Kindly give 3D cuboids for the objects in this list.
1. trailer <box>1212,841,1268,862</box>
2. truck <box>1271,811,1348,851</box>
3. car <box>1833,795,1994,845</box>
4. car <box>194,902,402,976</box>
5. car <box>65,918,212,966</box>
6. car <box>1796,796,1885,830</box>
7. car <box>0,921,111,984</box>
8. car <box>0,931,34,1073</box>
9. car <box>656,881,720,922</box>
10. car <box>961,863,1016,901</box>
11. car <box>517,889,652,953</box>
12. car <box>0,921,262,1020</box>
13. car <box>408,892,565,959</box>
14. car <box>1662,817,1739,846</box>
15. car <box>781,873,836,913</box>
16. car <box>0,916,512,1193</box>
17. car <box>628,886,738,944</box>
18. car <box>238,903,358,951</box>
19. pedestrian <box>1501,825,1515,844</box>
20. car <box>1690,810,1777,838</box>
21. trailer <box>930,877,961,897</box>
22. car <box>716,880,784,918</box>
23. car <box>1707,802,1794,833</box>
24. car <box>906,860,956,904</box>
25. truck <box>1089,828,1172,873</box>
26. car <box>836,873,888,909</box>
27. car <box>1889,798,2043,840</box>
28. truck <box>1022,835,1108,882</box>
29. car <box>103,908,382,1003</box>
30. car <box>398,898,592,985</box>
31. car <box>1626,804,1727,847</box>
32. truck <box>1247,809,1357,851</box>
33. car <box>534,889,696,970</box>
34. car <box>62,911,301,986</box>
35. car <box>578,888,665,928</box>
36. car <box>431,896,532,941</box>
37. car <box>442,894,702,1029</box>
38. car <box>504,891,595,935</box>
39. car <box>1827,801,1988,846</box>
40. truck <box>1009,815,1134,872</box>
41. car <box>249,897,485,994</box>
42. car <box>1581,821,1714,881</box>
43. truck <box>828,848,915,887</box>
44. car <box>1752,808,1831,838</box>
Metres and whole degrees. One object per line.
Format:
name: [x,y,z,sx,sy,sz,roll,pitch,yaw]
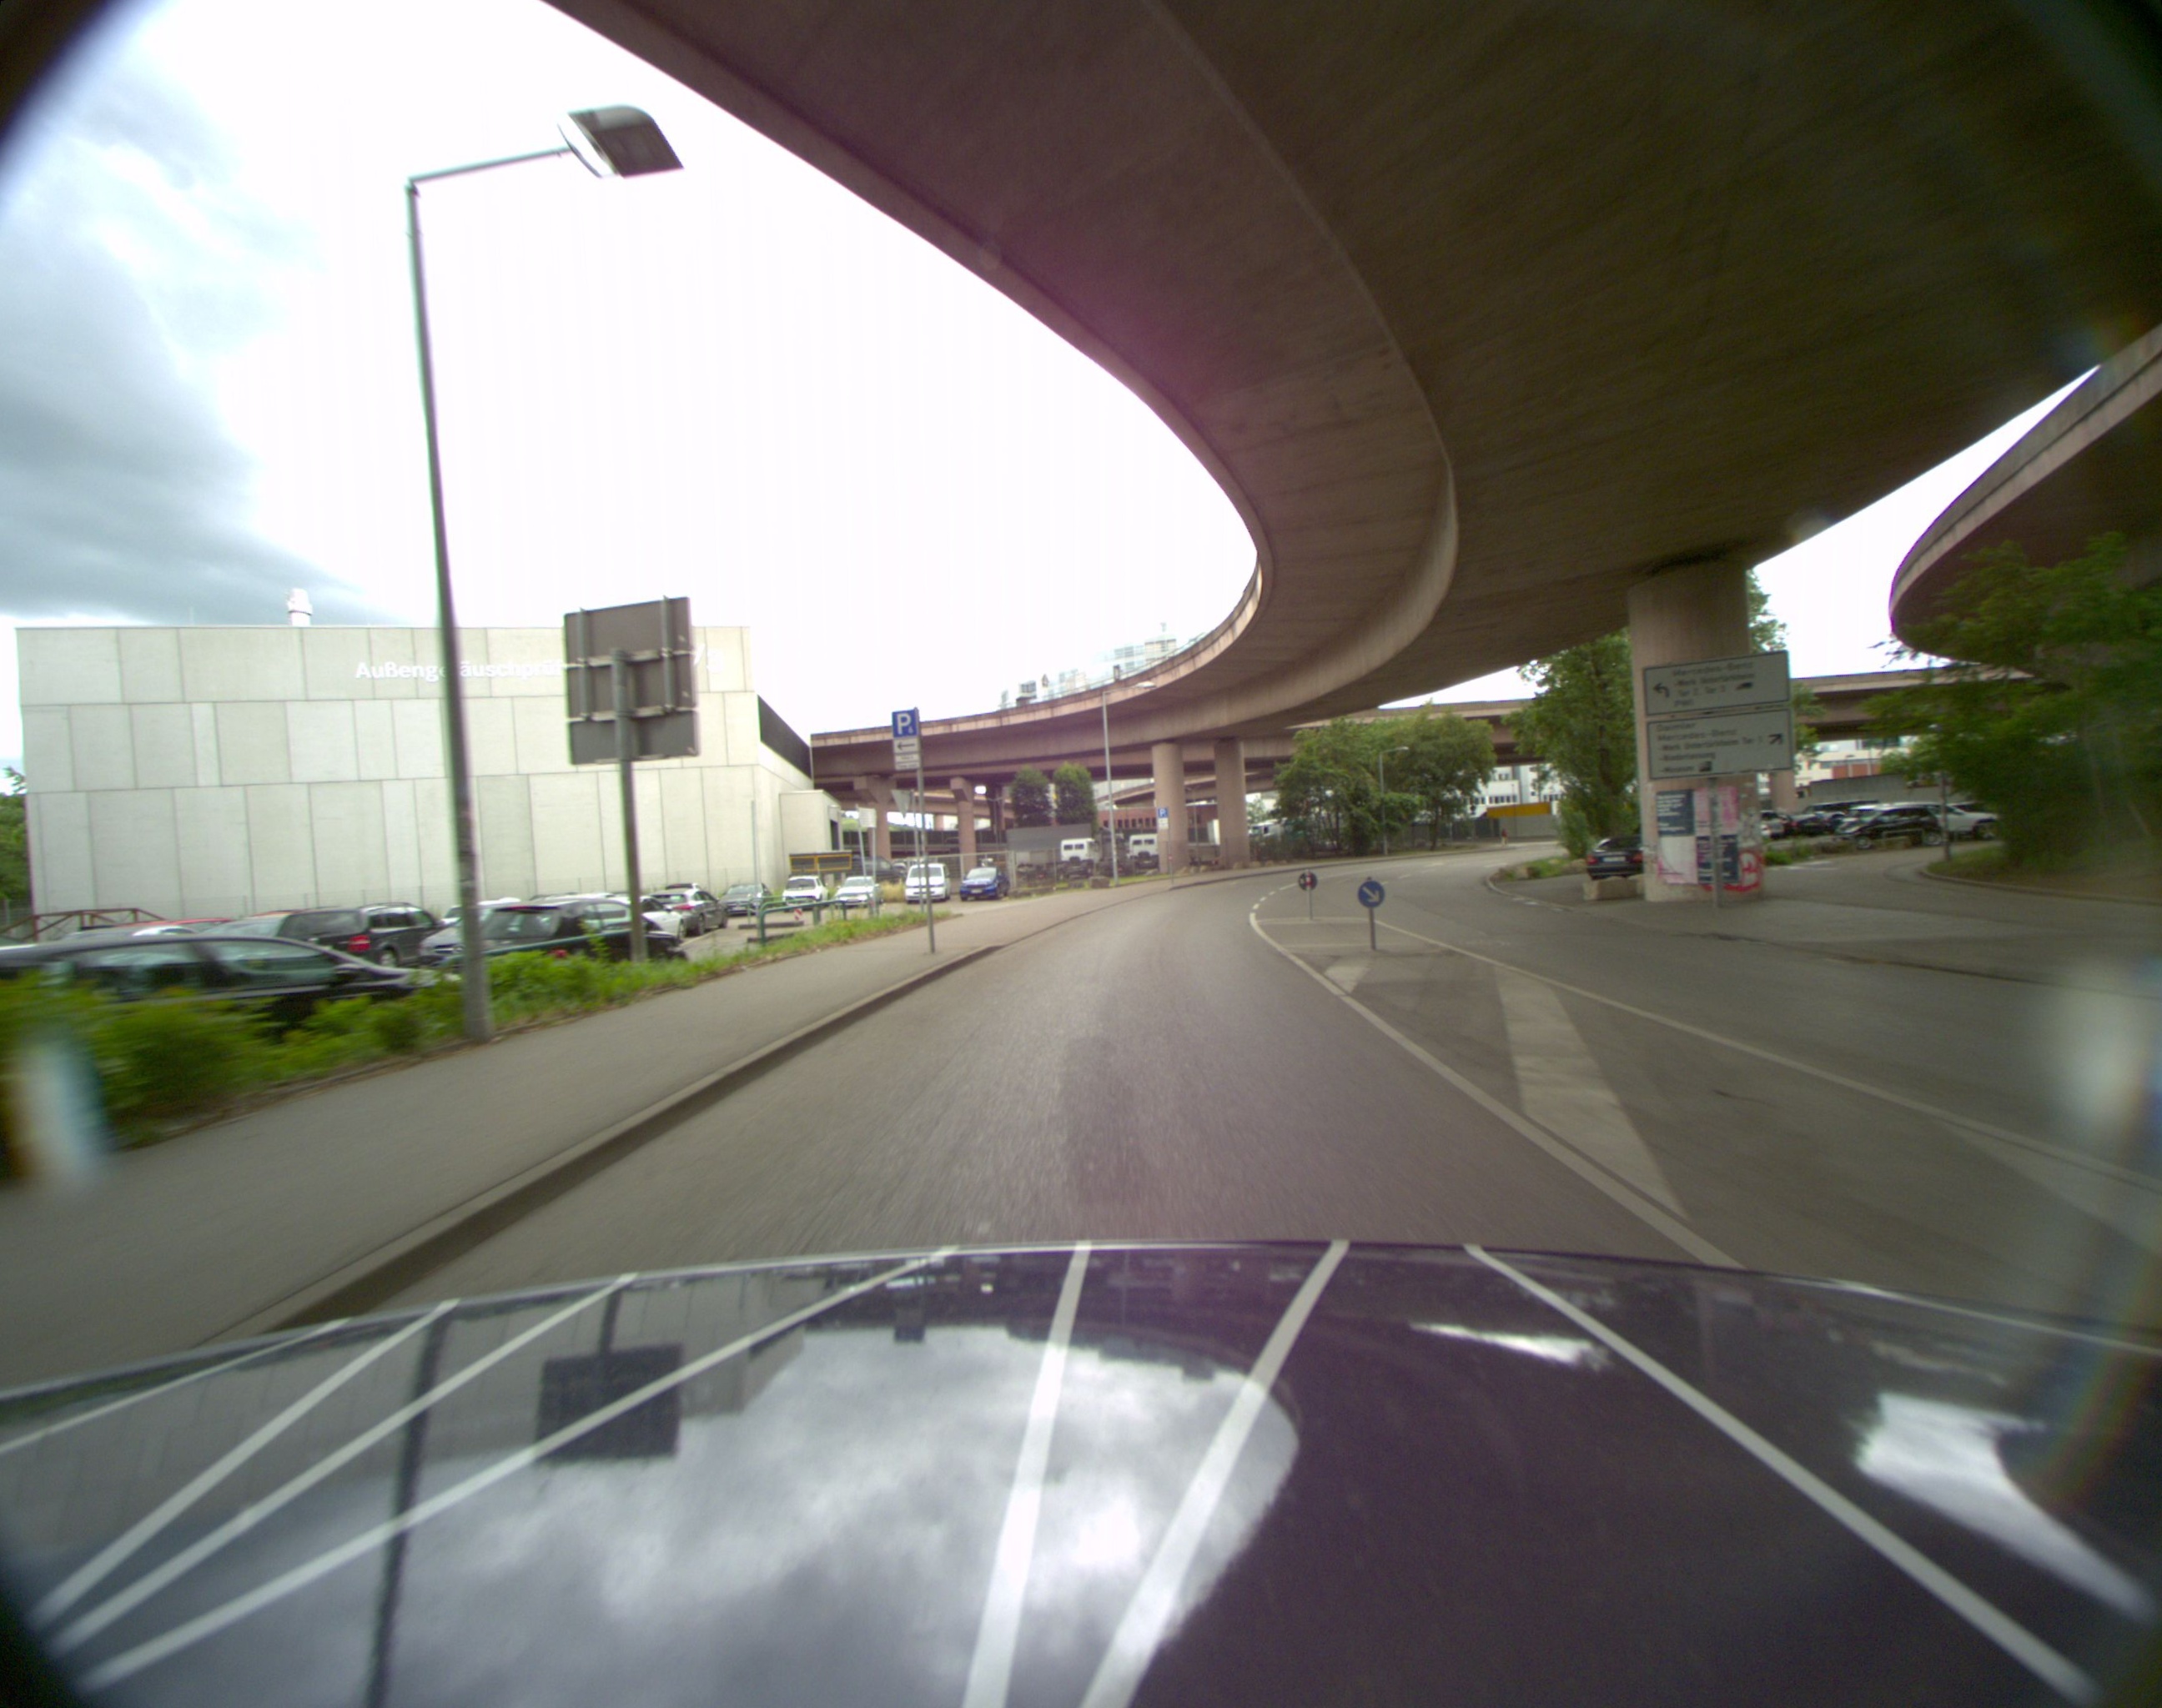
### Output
trailer: [11.918,-0.207,56.784,4.389,1.324,1.601,-4,2,-38]
truck: [21.100,-2.119,70.247,6.412,3.389,2.268,-3,2,-8]
car: [33.382,-1.355,30.590,4.056,1.697,1.737,-3,1,14]
car: [-22.027,2.309,21.687,1.839,1.504,4.496,-3,0,-11]
car: [-36.482,3.356,29.579,1.498,1.330,4.041,-3,0,-17]
car: [47.818,-2.614,47.995,1.852,2.003,4.725,-1,3,15]
car: [-28.924,2.696,19.883,1.839,1.417,4.437,-3,0,-11]
car: [-13.322,1.814,7.022,1.746,1.665,4.464,-3,0,-14]
car: [-17.528,2.075,34.024,1.624,1.535,3.095,-3,0,-11]
car: [-4.611,1.339,38.373,1.774,1.625,4.686,-3,0,5]
car: [-15.043,1.954,23.352,1.839,1.504,4.496,-3,0,-11]
car: [-20.679,2.398,16.325,1.859,1.435,4.615,-3,0,-14]
car: [-17.704,2.053,22.940,1.839,1.504,4.496,-3,0,-11]
car: [32.564,-1.190,40.065,1.562,1.372,3.707,-3,1,11]
car: [-12.646,1.746,35.541,1.776,1.579,4.356,-3,0,-12]
car: [-7.773,1.527,6.741,1.733,1.471,4.252,-3,0,10]
car: [-12.480,1.844,24.150,1.839,1.417,4.437,-3,0,-11]
car: [-31.213,2.864,30.452,1.498,1.451,4.059,-3,0,-17]
pedestrian: [39.635,-1.797,70.574,0.856,1.671,0.752,-4,2,-34]
car: [35.656,-1.615,41.707,1.693,1.356,4.519,-3,1,13]
trailer: [-7.842,1.891,43.940,1.484,0.894,2.556,-3,2,-16]
car: [-14.670,1.940,33.912,1.776,1.376,4.357,-3,0,-11]
car: [39.085,-2.114,44.539,1.693,1.664,4.680,-3,2,12]
car: [-7.478,1.322,38.275,1.893,1.945,4.678,-3,0,-5]
truck: [3.533,-0.327,52.243,2.418,2.728,7.248,-3,0,31]
car: [-10.387,1.712,36.322,1.775,1.448,4.551,-3,0,-9]
car: [37.196,-1.449,32.056,3.861,1.456,1.744,-3,1,18]
truck: [-0.988,0.262,52.213,2.452,2.869,6.130,-3,1,37]
car: [-18.362,2.119,17.048,1.859,1.435,4.615,-3,0,-14]
car: [-13.735,1.957,18.219,1.859,1.466,4.681,-3,0,-14]
car: [29.413,-1.405,37.722,1.854,1.906,4.976,-3,1,11]
truck: [21.325,-2.341,73.332,10.217,3.479,2.268,-3,2,-11]
car: [-11.355,1.758,18.932,1.859,1.466,4.682,-3,0,-11]
car: [-24.498,2.501,21.016,1.839,1.417,4.437,-3,0,-11]
car: [-19.841,2.288,33.036,1.776,1.376,4.357,-3,0,-11]
car: [-24.895,2.639,31.746,1.776,1.448,4.355,-3,0,-17]
car: [-7.117,1.442,10.936,1.542,1.471,2.762,-3,1,10]
car: [-22.225,2.412,31.948,1.776,1.448,4.355,-3,0,-17]
car: [31.518,-1.148,29.106,3.860,1.456,1.540,-3,1,22]
truck: [-0.911,-0.864,66.707,10.137,4.340,3.910,-3,0,-12]
car: [-16.126,1.960,17.570,1.859,1.618,4.615,-3,0,-14]
car: [16.873,-0.130,22.547,4.781,1.422,1.824,-4,-1,-37]
truck: [-18.511,1.179,67.582,6.929,2.915,3.048,-3,0,-9]
car: [41.513,-1.808,44.479,1.693,1.528,3.630,-3,2,12]
